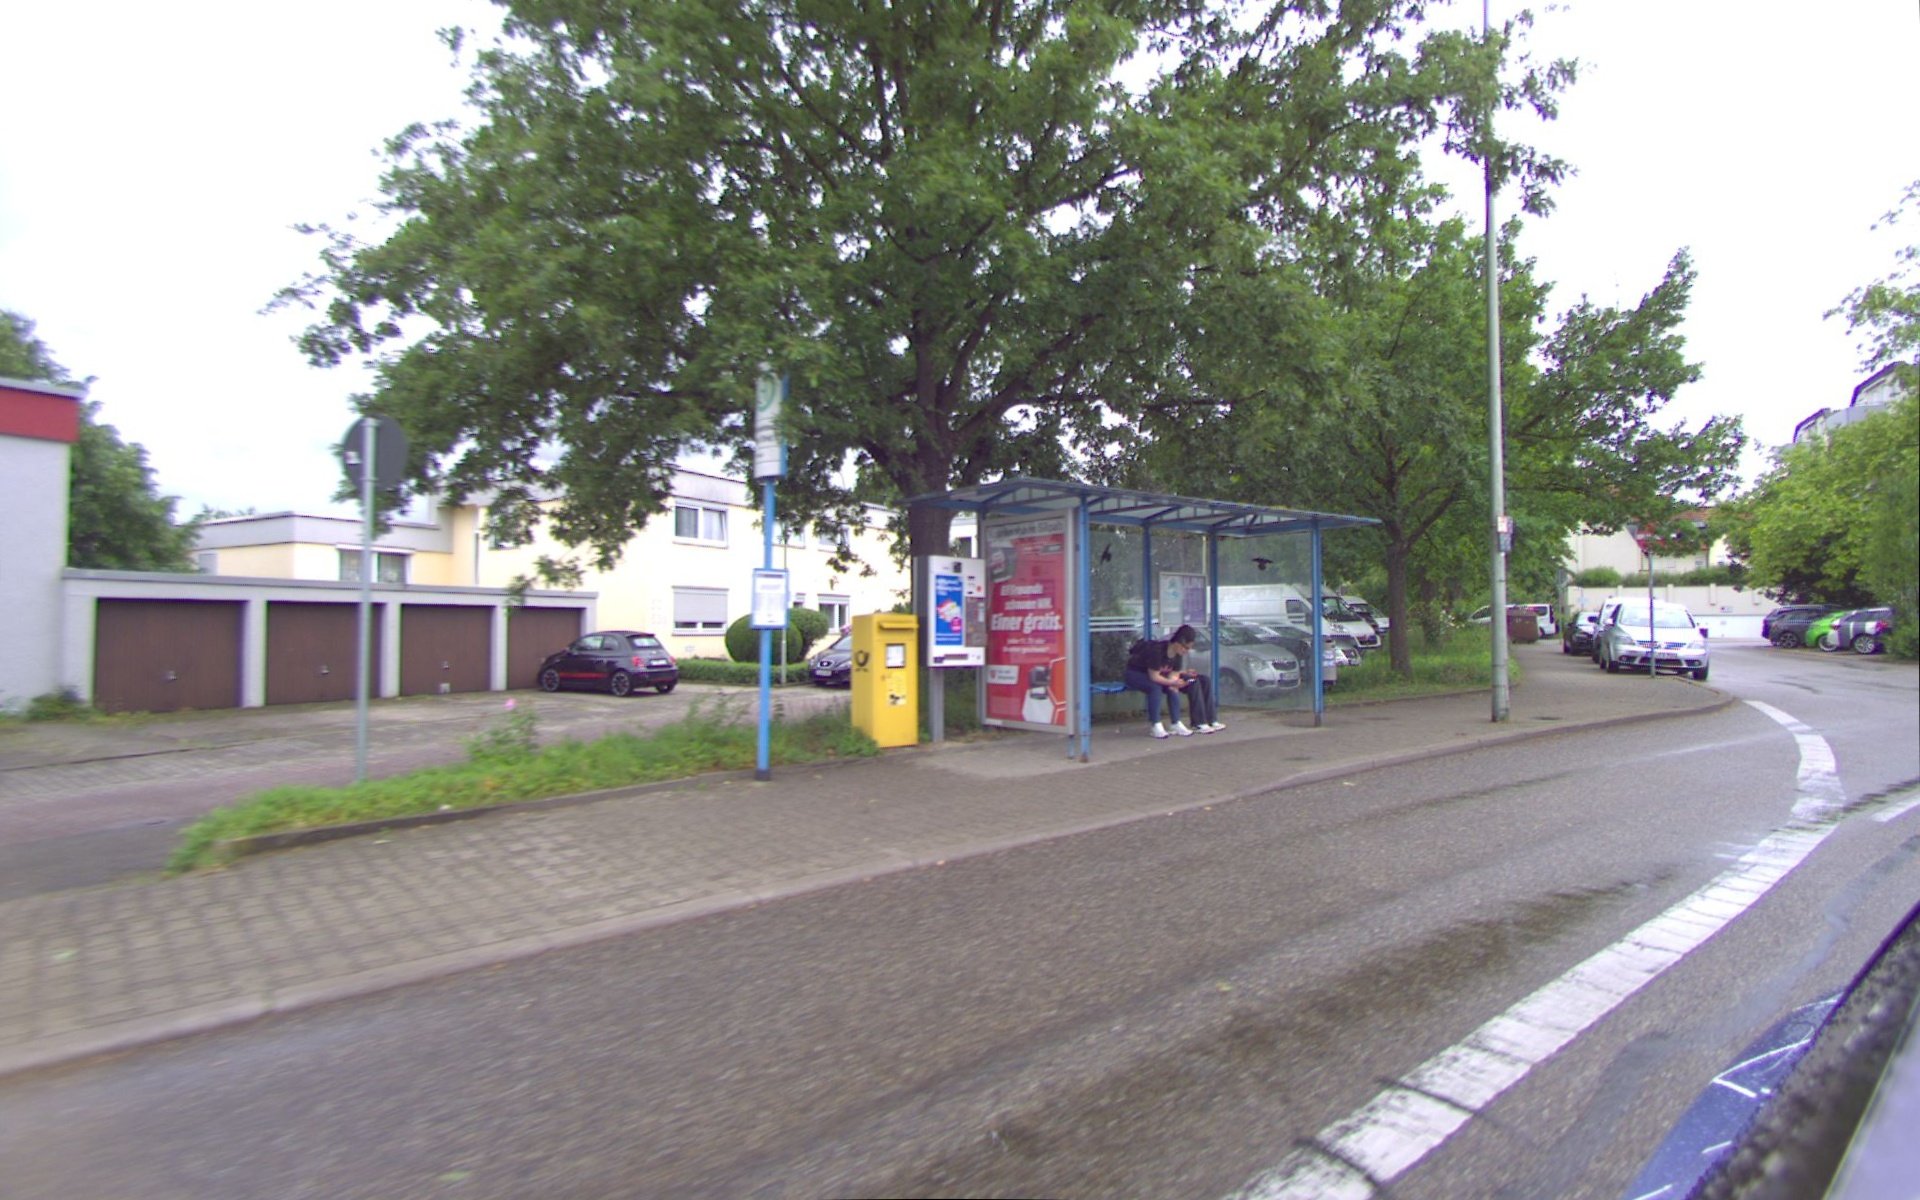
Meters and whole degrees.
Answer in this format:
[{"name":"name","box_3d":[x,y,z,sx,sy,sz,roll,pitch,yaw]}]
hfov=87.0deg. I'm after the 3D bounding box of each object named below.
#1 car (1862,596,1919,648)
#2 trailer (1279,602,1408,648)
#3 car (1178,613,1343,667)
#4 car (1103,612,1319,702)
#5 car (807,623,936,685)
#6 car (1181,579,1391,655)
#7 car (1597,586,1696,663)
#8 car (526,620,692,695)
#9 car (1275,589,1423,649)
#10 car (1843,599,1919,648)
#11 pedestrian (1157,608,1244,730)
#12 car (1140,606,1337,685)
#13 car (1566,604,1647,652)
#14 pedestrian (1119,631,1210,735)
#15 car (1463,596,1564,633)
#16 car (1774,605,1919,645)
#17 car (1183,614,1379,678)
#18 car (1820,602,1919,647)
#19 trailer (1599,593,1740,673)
[{"name":"car","box_3d":[28.347,0.602,28.120,1.730,1.461,4.589,0,-1,-32]},{"name":"trailer","box_3d":[12.977,0.857,34.499,1.677,1.455,4.005,0,-1,-26]},{"name":"car","box_3d":[8.042,1.058,27.376,1.817,1.313,3.997,0,-1,-37]},{"name":"car","box_3d":[4.630,1.016,19.041,1.727,1.505,3.654,0,-1,-37]},{"name":"car","box_3d":[-2.360,1.443,27.897,1.678,1.529,3.786,-2,-1,29]},{"name":"car","box_3d":[9.445,0.489,29.916,1.963,2.039,5.835,0,-1,-37]},{"name":"car","box_3d":[18.344,0.630,27.225,1.984,1.905,4.164,-2,-1,32]},{"name":"car","box_3d":[-8.466,1.339,24.409,3.586,1.552,1.746,2,0,26]},{"name":"car","box_3d":[14.072,0.679,36.898,1.961,2.039,4.766,0,-1,-33]},{"name":"car","box_3d":[29.848,0.701,30.488,1.730,1.461,4.589,0,-1,-32]},{"name":"pedestrian","box_3d":[2.614,0.732,11.032,0.541,1.266,0.729,0,-2,-35]},{"name":"car","box_3d":[5.842,0.932,21.462,3.645,1.505,1.732,-2,-2,44]},{"name":"car","box_3d":[20.425,0.852,32.108,1.749,1.400,4.147,-2,-1,27]},{"name":"pedestrian","box_3d":[2.131,0.847,10.572,0.541,1.025,0.751,0,-2,-35]},{"name":"car","box_3d":[31.617,0.853,57.876,4.954,2.040,2.063,-1,-1,31]},{"name":"car","box_3d":[32.845,0.890,37.346,1.730,1.389,4.024,0,-1,-32]},{"name":"car","box_3d":[7.405,1.038,23.628,1.705,1.354,4.032,0,-2,-44]},{"name":"car","box_3d":[31.283,0.787,33.449,1.730,1.461,4.024,0,-1,-32]},{"name":"trailer","box_3d":[15.325,0.667,22.101,1.982,1.563,4.381,-1,-1,29]}]
